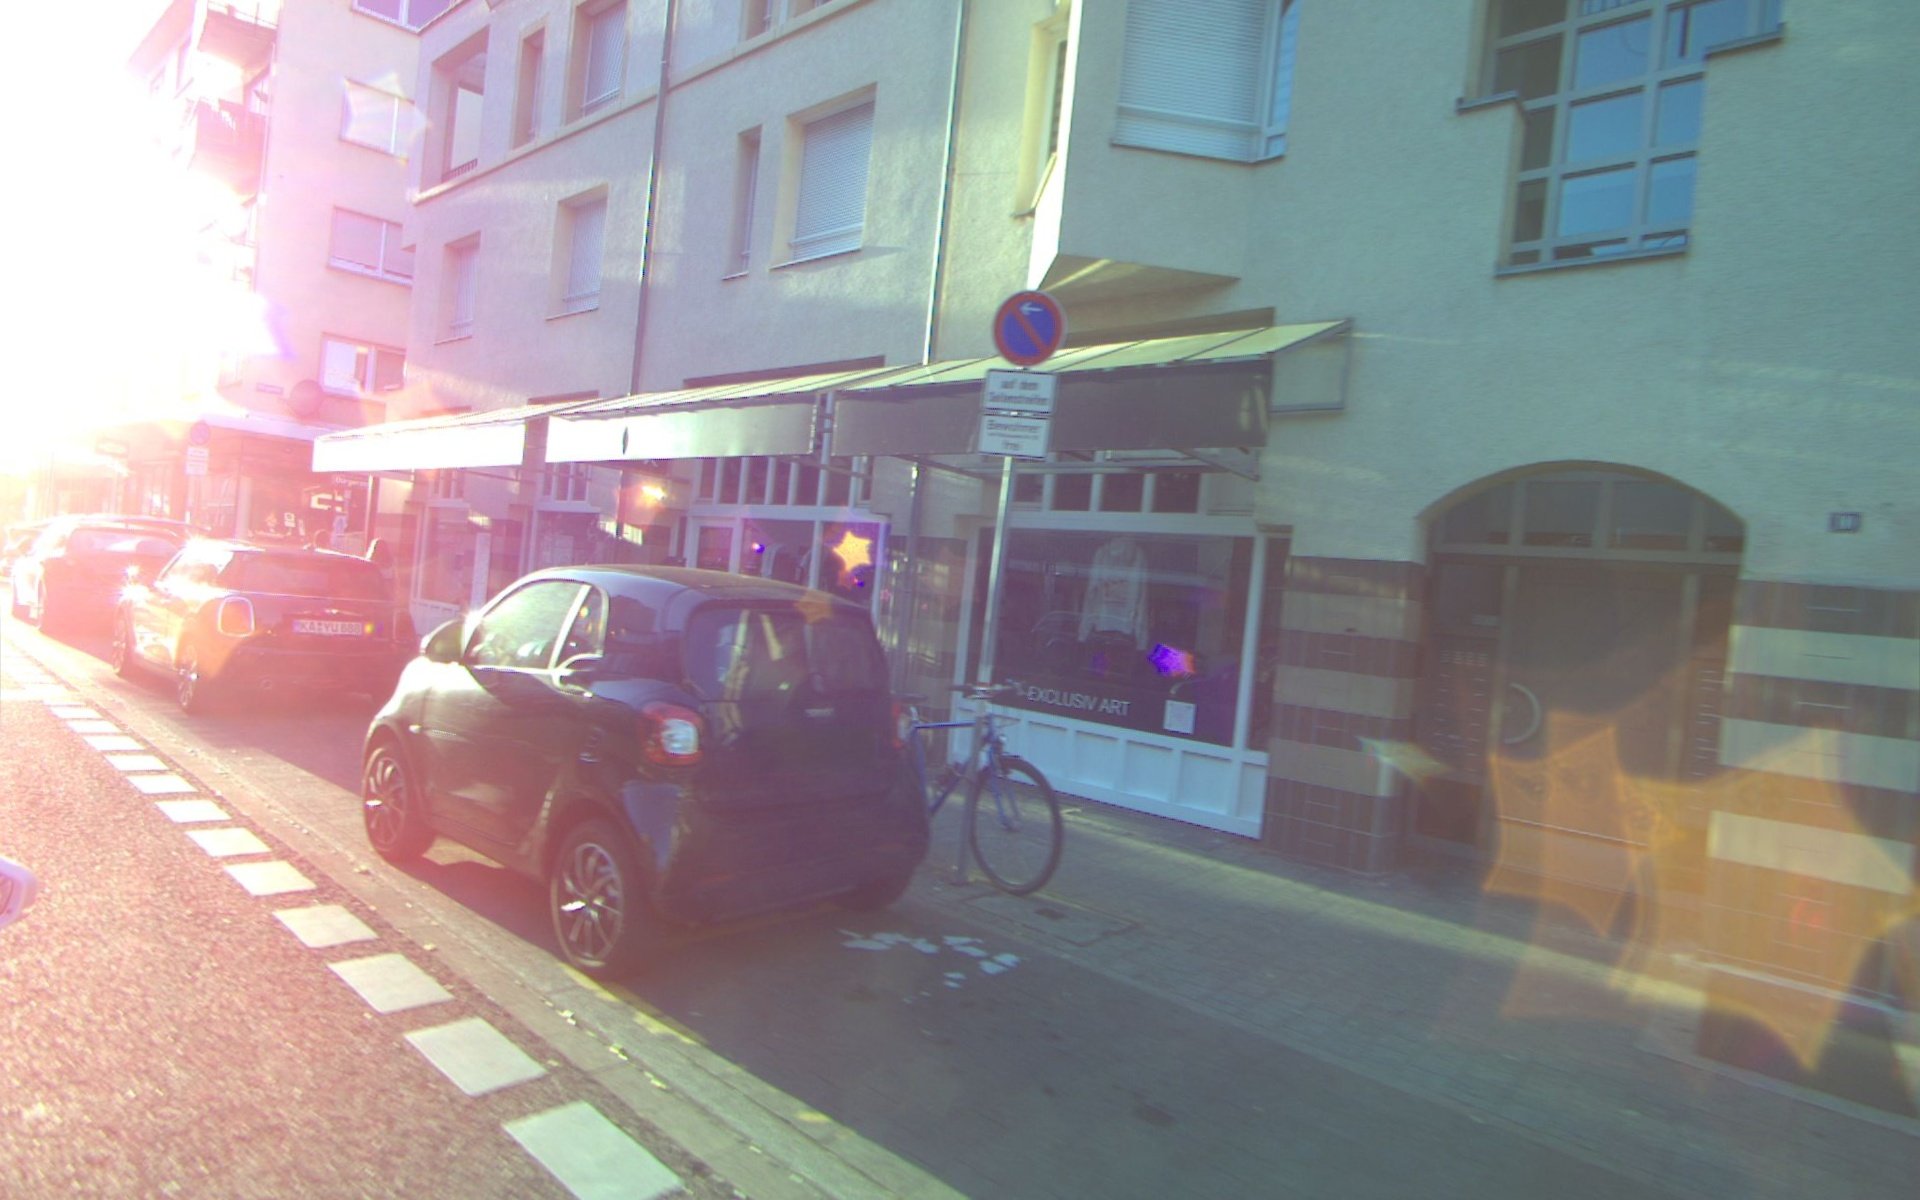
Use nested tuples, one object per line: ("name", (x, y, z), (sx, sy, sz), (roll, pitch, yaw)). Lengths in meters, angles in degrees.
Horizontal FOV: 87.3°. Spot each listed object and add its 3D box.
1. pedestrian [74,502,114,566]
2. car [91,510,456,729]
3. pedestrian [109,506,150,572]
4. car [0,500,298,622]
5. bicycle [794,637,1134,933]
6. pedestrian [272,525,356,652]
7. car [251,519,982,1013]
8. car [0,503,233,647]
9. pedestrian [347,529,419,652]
("pedestrian", (-25.661, -1.949, 29.816), (0.657, 1.814, 0.716), (6, 1, 41))
("car", (-6.624, 0.115, 9.583), (3.732, 1.600, 1.787), (6, 0, 39))
("pedestrian", (-23.966, -1.768, 29.033), (0.657, 1.814, 0.716), (6, 1, 41))
("car", (-15.743, -0.684, 19.540), (1.847, 1.717, 4.317), (6, -2, 29))
("bicycle", (-0.058, 0.924, 5.641), (1.951, 1.221, 0.557), (6, 0, 44))
("pedestrian", (-9.259, -0.169, 14.414), (1.025, 1.721, 0.629), (6, 1, 40))
("car", (-2.033, 0.540, 5.378), (3.909, 1.600, 1.787), (6, 0, 39))
("car", (-11.799, -0.374, 13.954), (3.732, 1.600, 1.787), (6, 0, 39))
("pedestrian", (-8.515, -0.145, 14.835), (0.820, 1.721, 0.558), (6, 1, 40))
